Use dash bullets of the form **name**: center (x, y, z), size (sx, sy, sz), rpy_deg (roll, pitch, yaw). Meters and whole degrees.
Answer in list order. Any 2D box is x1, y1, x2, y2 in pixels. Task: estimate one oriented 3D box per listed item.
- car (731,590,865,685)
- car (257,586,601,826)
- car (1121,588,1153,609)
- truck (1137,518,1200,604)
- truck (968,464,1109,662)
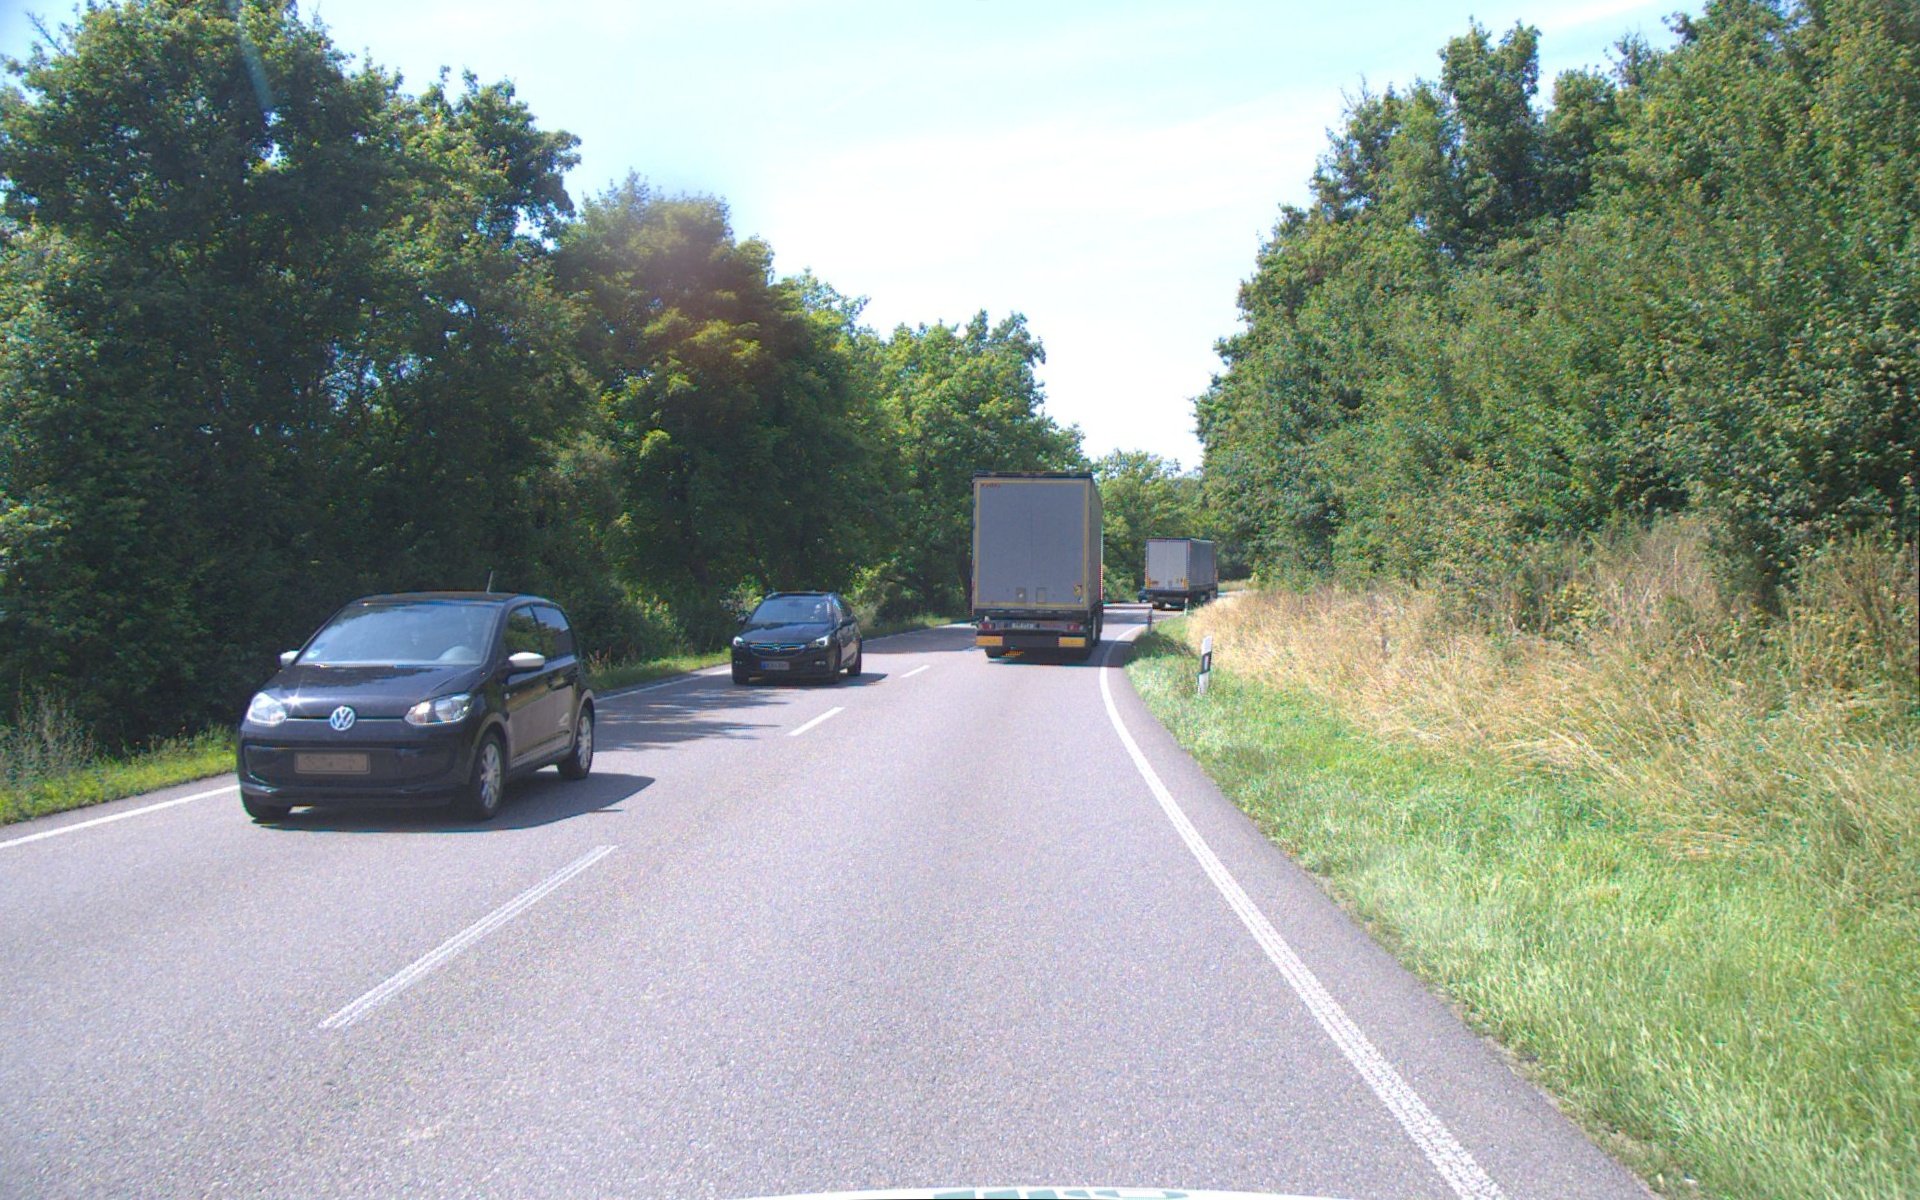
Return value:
- **car**: center (-2.686, 0.582, 28.329), size (1.674, 1.496, 4.376), rpy_deg (0, 0, 2)
- **car**: center (-3.672, 0.657, 11.972), size (1.400, 1.496, 3.272), rpy_deg (0, 0, 1)
- **car**: center (12.374, -0.118, 115.458), size (1.721, 1.457, 4.273), rpy_deg (0, 1, 13)
- **truck**: center (12.850, -2.365, 100.621), size (3.038, 4.787, 16.605), rpy_deg (0, 1, 10)
- **truck**: center (2.339, -0.797, 42.469), size (2.742, 4.140, 15.335), rpy_deg (1, 0, 6)
